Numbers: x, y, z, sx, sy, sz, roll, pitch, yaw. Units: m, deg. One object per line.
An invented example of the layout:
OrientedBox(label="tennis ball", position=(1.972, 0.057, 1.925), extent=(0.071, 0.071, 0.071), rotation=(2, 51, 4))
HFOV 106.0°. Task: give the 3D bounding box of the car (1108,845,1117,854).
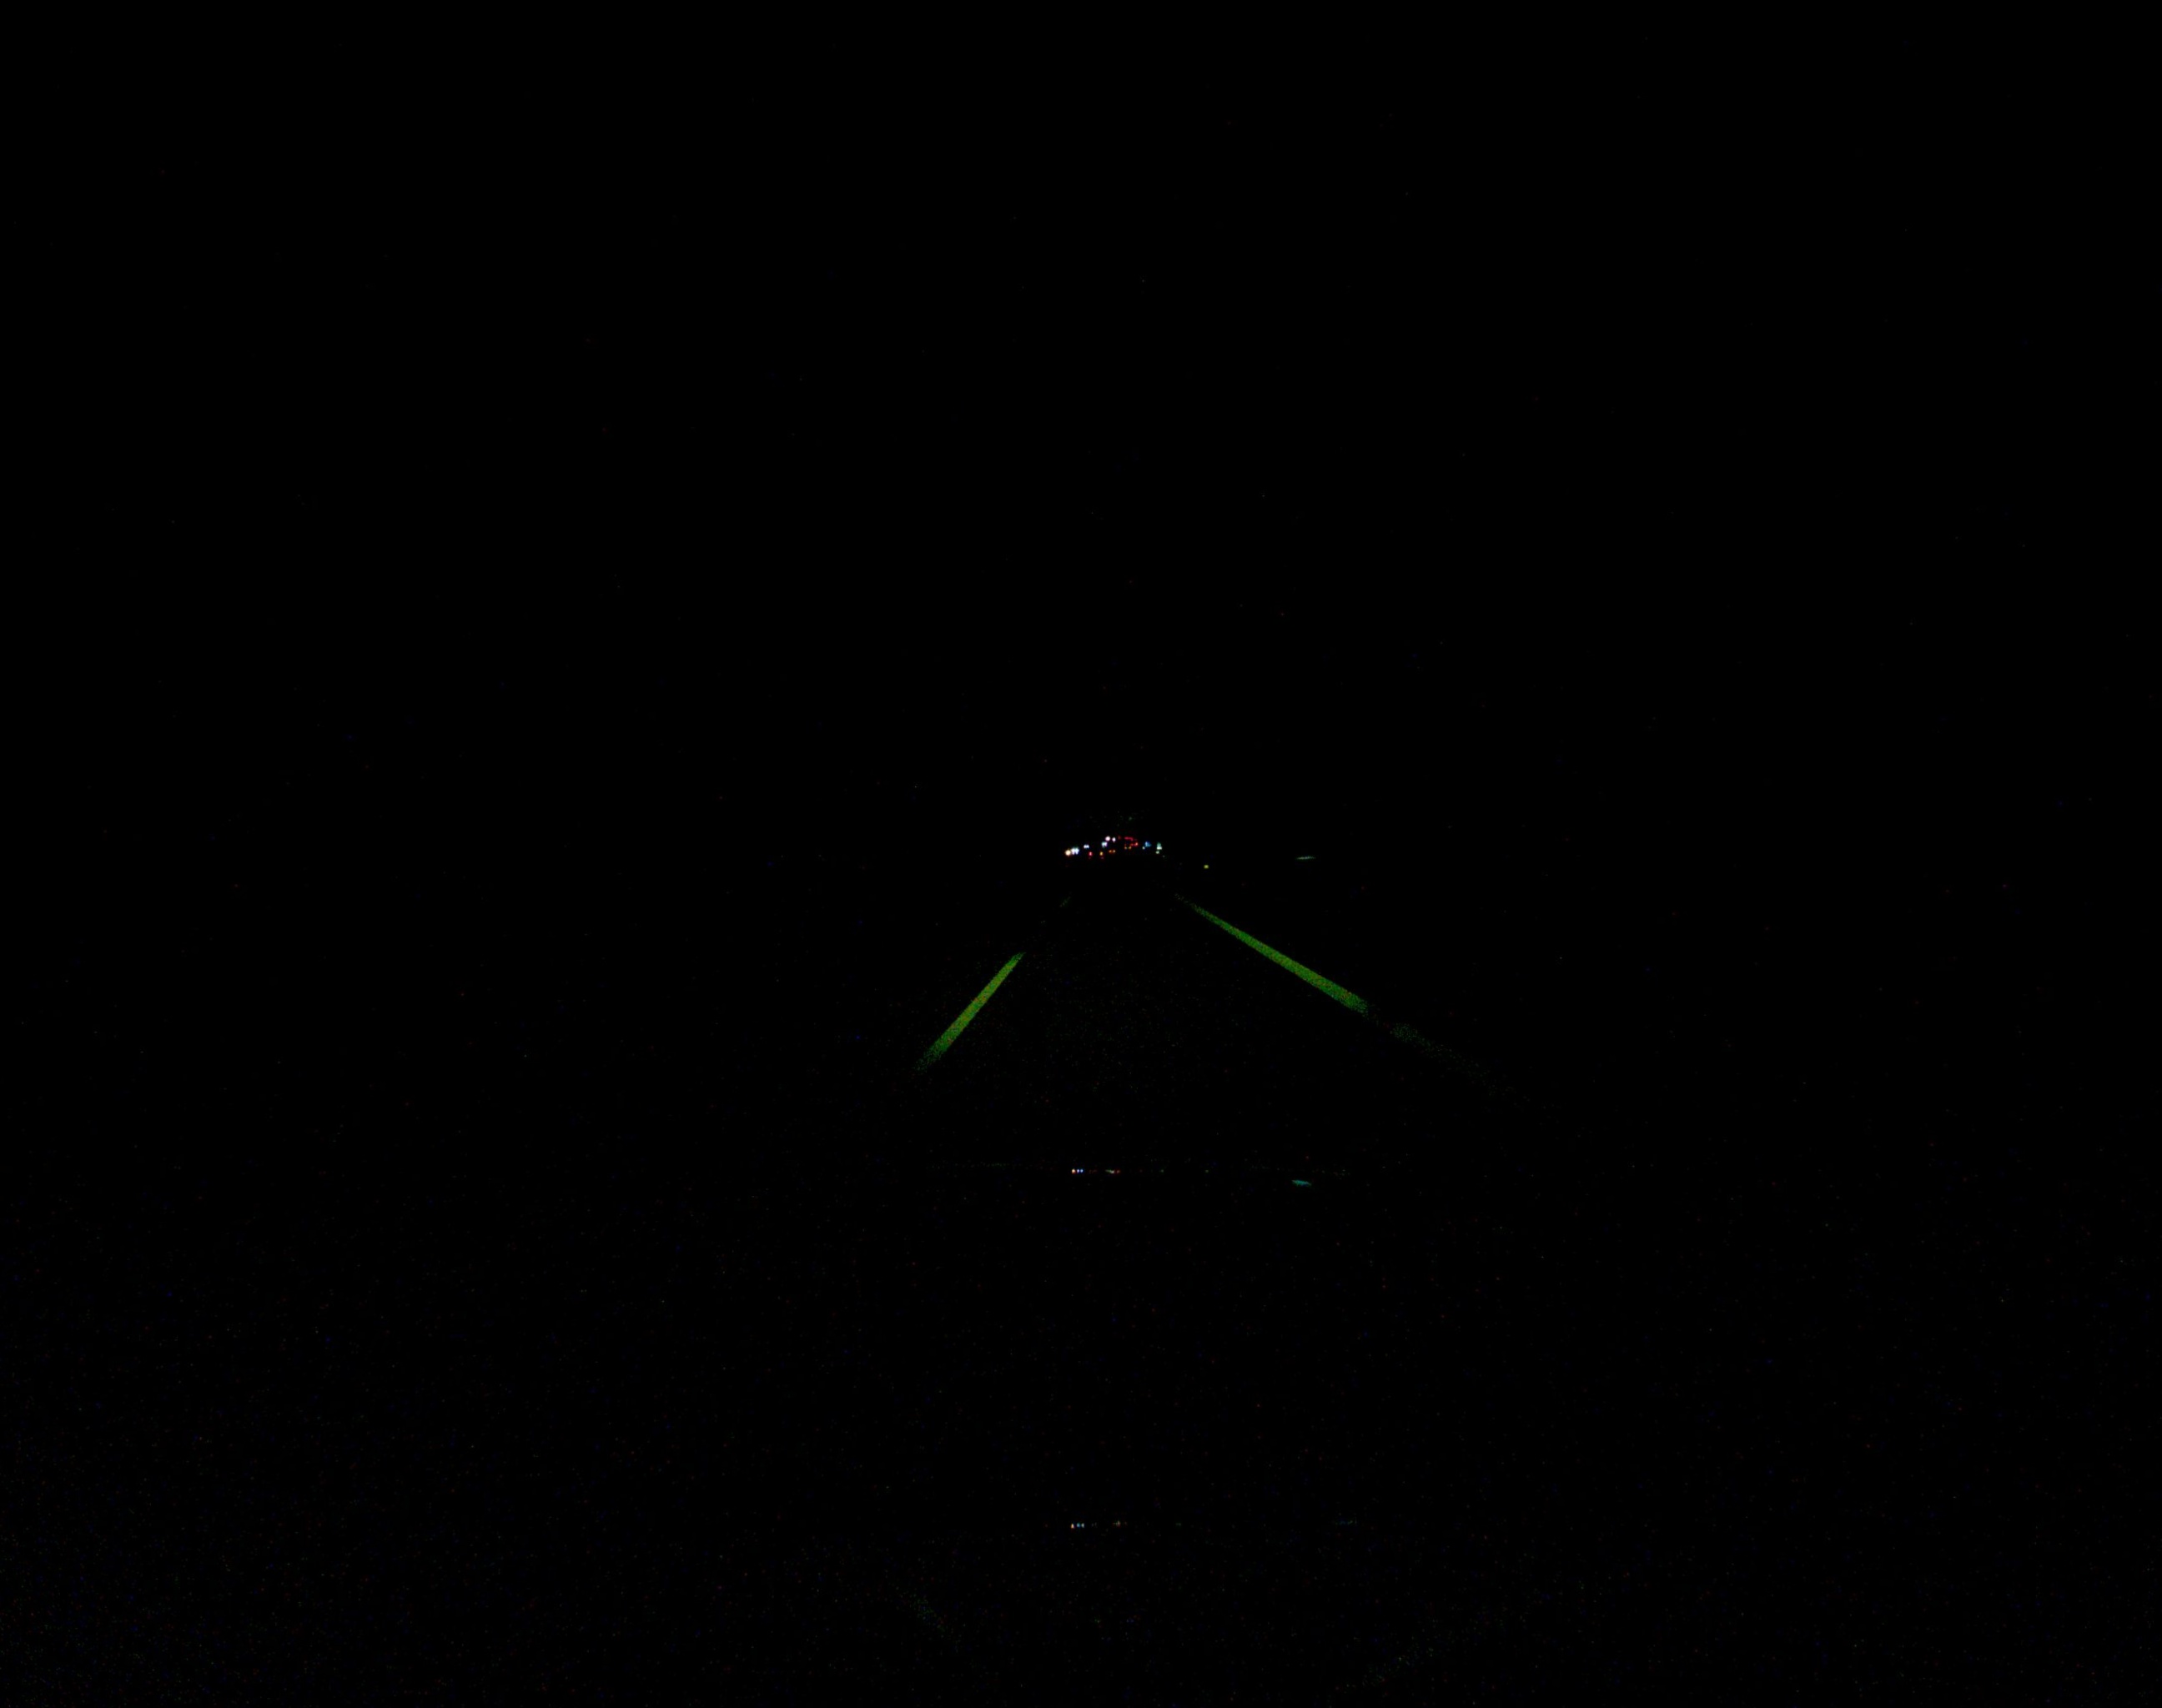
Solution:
OrientedBox(label="car", position=(10.102, -1.371, 260.547), extent=(2.777, 2.733, 6.299), rotation=(-1, -1, 1))

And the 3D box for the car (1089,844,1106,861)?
OrientedBox(label="car", position=(2.725, -0.272, 136.638), extent=(2.777, 2.733, 6.300), rotation=(-1, -1, 1))
